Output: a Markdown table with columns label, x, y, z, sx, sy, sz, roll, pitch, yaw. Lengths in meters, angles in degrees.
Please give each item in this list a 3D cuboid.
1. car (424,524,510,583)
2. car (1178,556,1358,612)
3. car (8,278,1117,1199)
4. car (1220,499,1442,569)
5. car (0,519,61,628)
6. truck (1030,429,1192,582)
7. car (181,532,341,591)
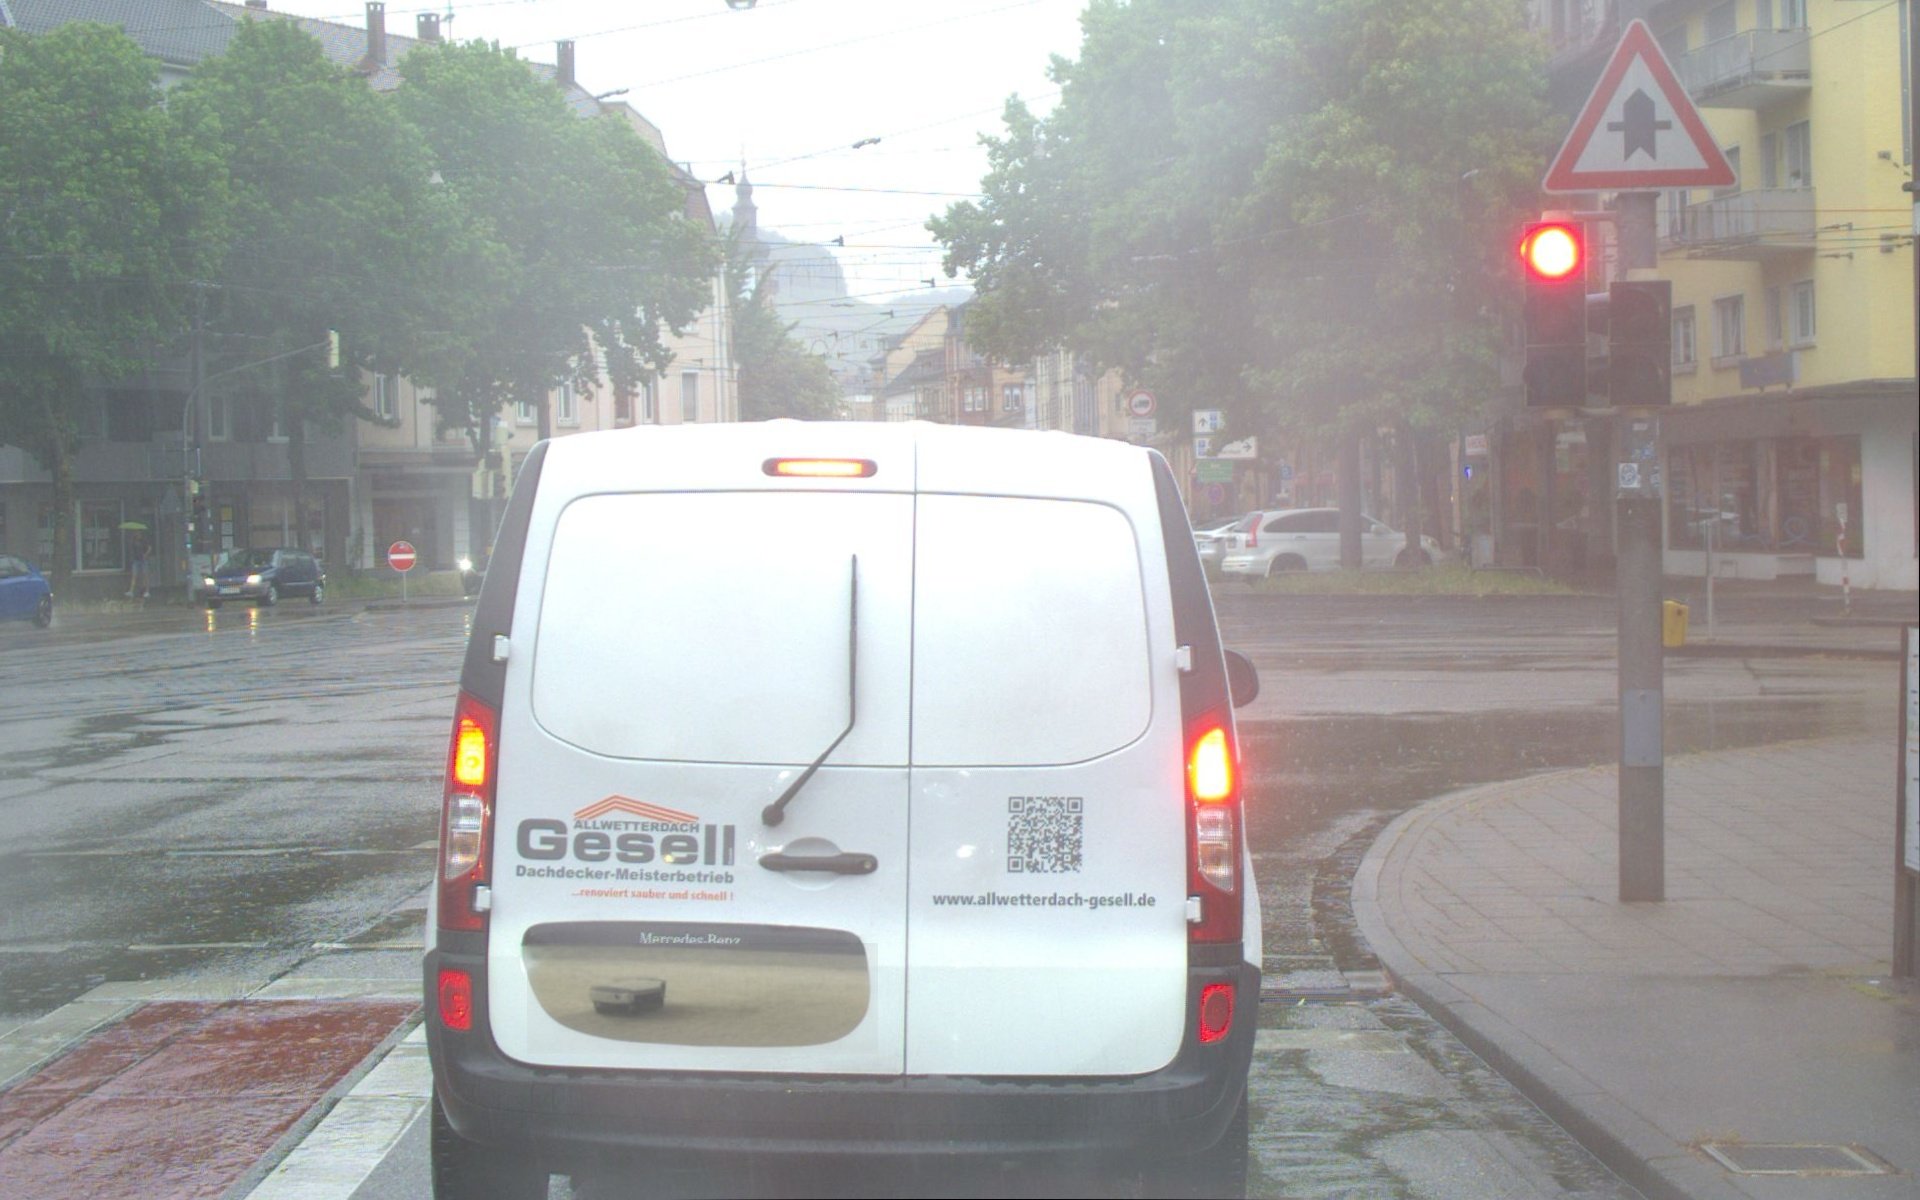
| label | x | y | z | sx | sy | sz | roll | pitch | yaw |
| --- | --- | --- | --- | --- | --- | --- | --- | --- | --- |
| car | -13.261 | -1.262 | 92.676 | 1.783 | 1.546 | 4.000 | 0 | 1 | -1 |
| car | 6.314 | -0.324 | 70.647 | 3.441 | 1.126 | 1.472 | 0 | 1 | -8 |
| car | -0.783 | 0.369 | 9.040 | 2.100 | 2.005 | 4.963 | 0 | 1 | -1 |
| car | 7.425 | -1.341 | 68.933 | 4.165 | 1.334 | 1.521 | -1 | 2 | -7 |
| car | -18.527 | -0.509 | 64.193 | 1.994 | 2.007 | 3.999 | 0 | 1 | 8 |
| truck | 5.511 | -3.259 | 121.894 | 3.471 | 5.070 | 15.300 | 0 | 1 | 11 |
| car | -16.074 | -0.899 | 79.205 | 1.952 | 1.235 | 3.997 | 0 | 2 | 16 |
